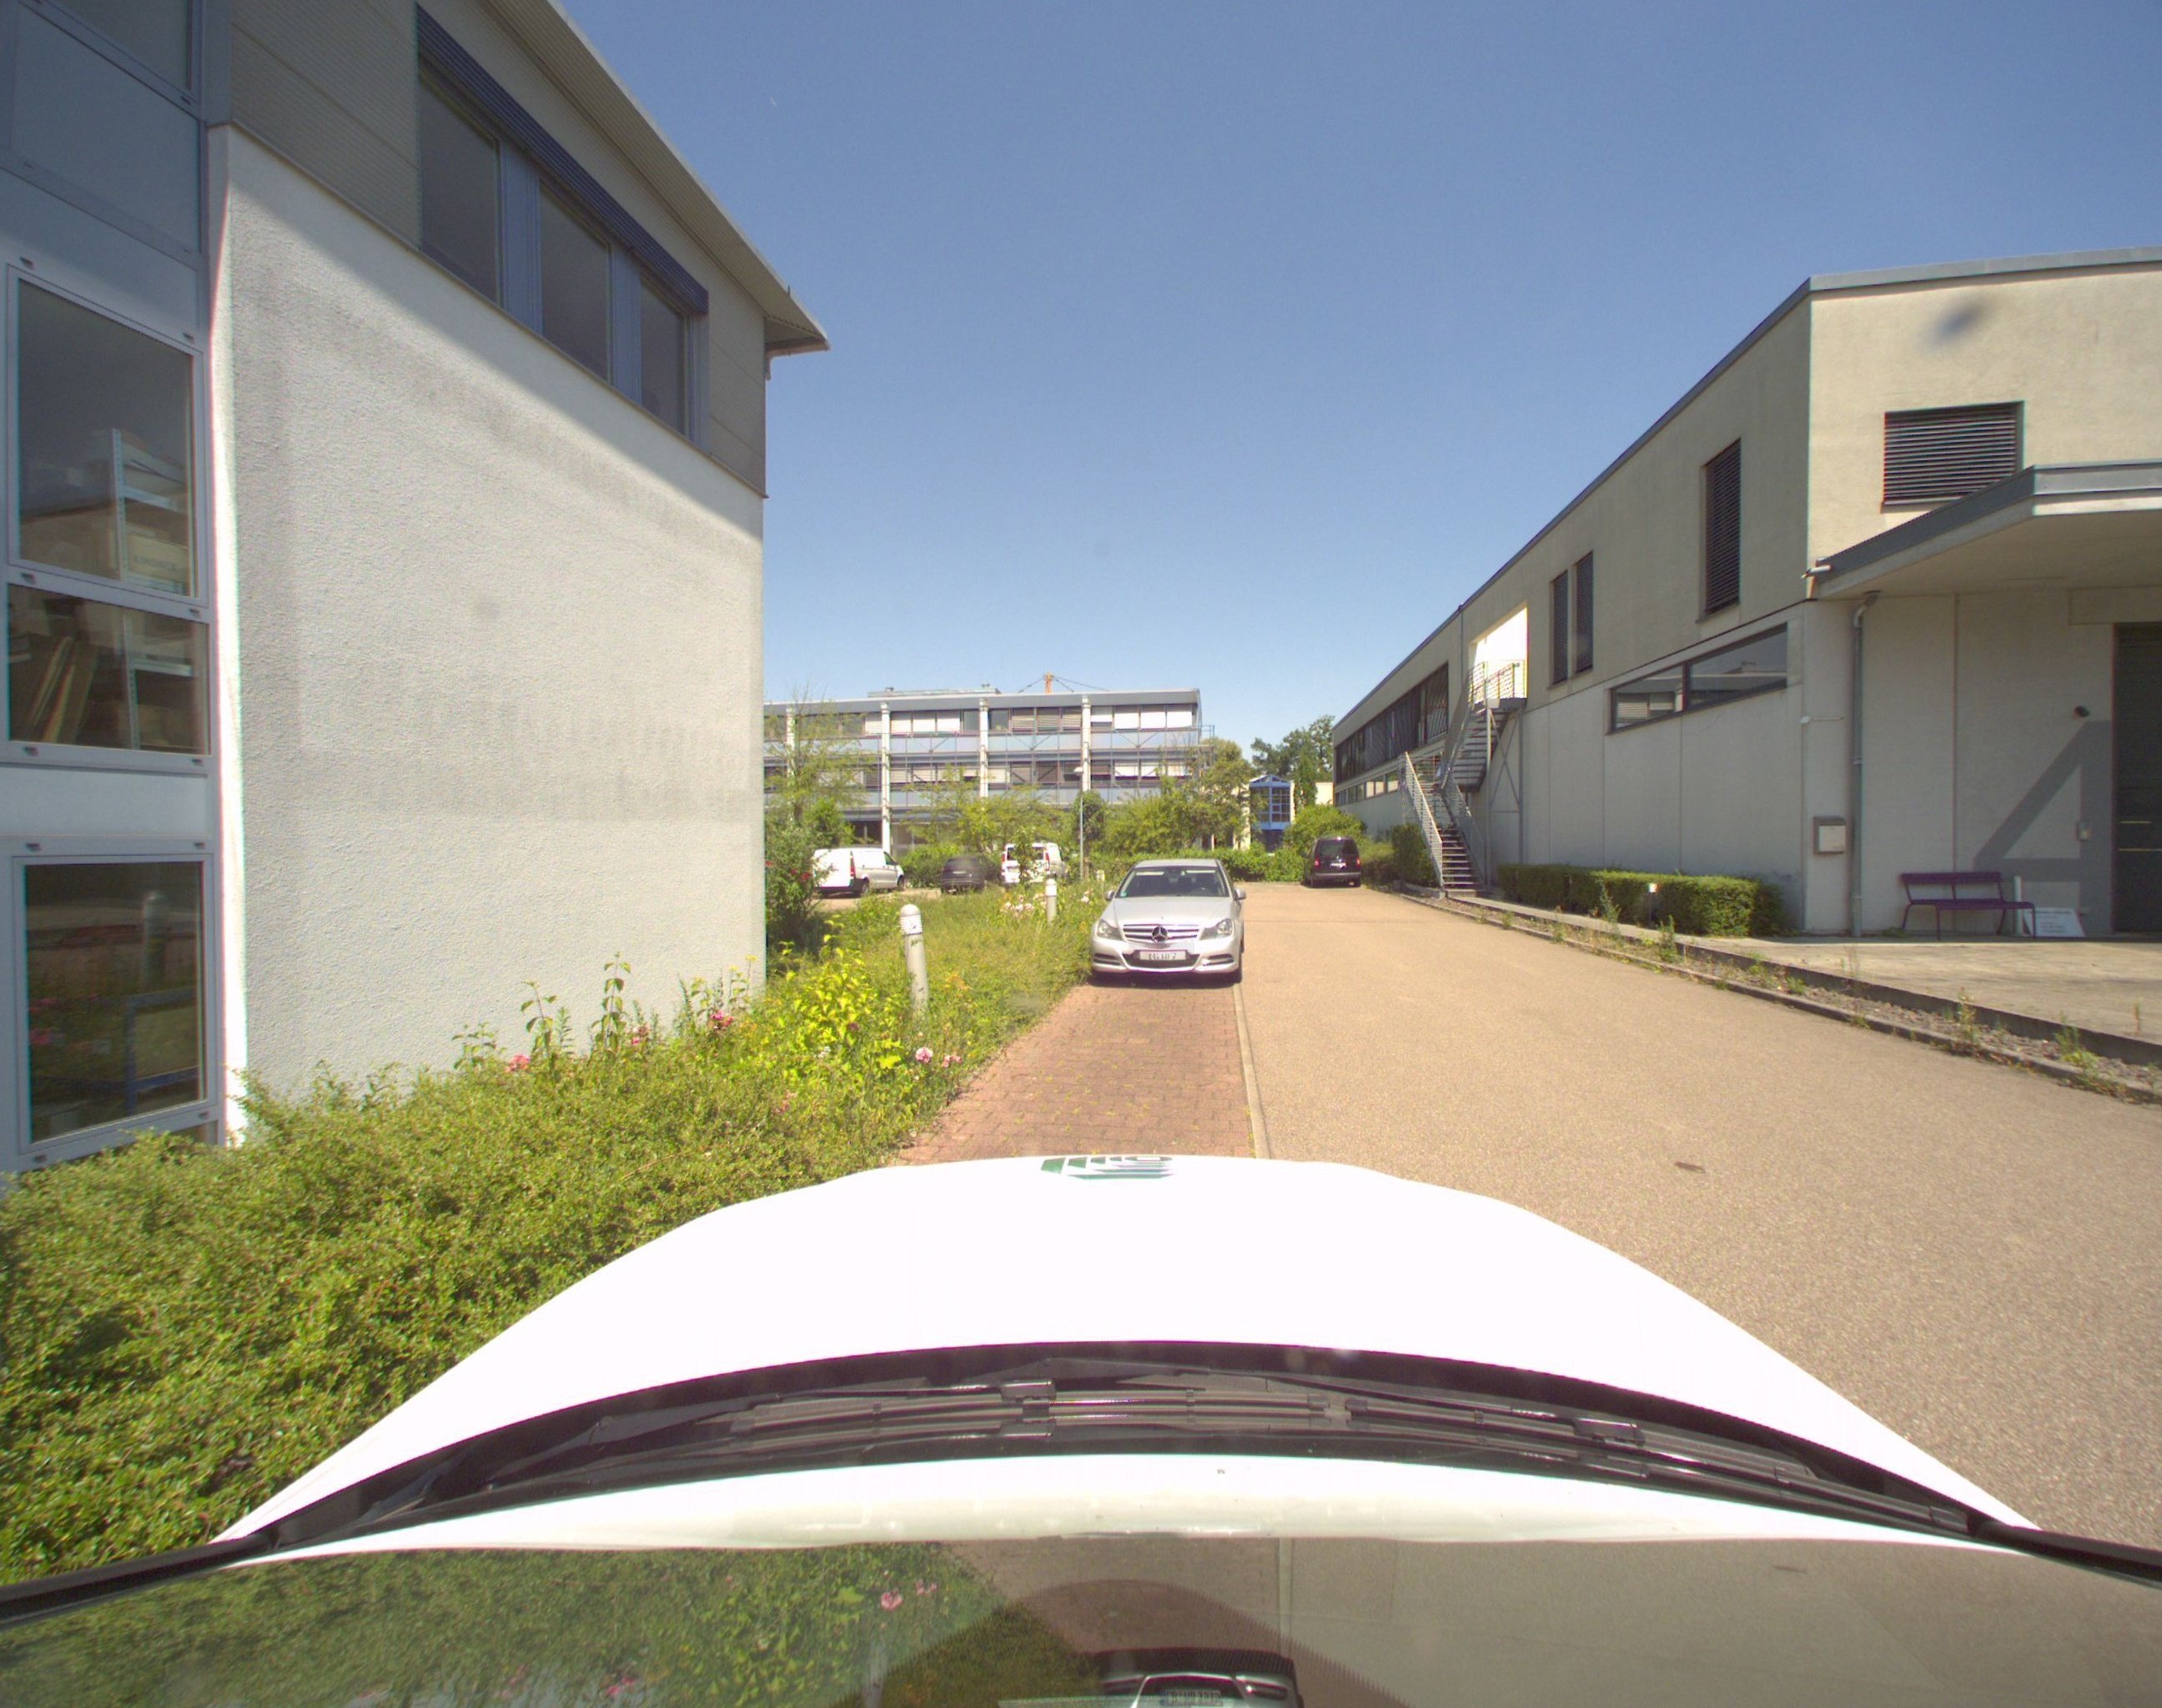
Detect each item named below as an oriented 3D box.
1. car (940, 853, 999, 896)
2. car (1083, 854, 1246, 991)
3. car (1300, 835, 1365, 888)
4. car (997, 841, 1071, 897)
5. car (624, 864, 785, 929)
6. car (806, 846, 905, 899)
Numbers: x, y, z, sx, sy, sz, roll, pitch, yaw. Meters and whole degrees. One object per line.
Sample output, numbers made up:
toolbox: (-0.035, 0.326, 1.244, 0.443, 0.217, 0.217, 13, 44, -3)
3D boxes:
car: (-4.360, 0.755, 32.416, 1.749, 1.476, 3.999, -2, 1, 0)
car: (1.311, 0.760, 10.946, 1.717, 1.457, 4.161, -2, 0, 12)
car: (9.411, 0.237, 30.732, 1.733, 1.837, 4.010, -2, 0, 9)
car: (-1.701, 0.503, 31.449, 1.902, 1.905, 4.819, -2, 1, 8)
car: (-10.269, 1.095, 22.656, 1.846, 1.472, 4.495, -1, 1, 8)
car: (-8.874, 0.676, 32.554, 1.870, 1.891, 4.818, -1, 1, 10)
